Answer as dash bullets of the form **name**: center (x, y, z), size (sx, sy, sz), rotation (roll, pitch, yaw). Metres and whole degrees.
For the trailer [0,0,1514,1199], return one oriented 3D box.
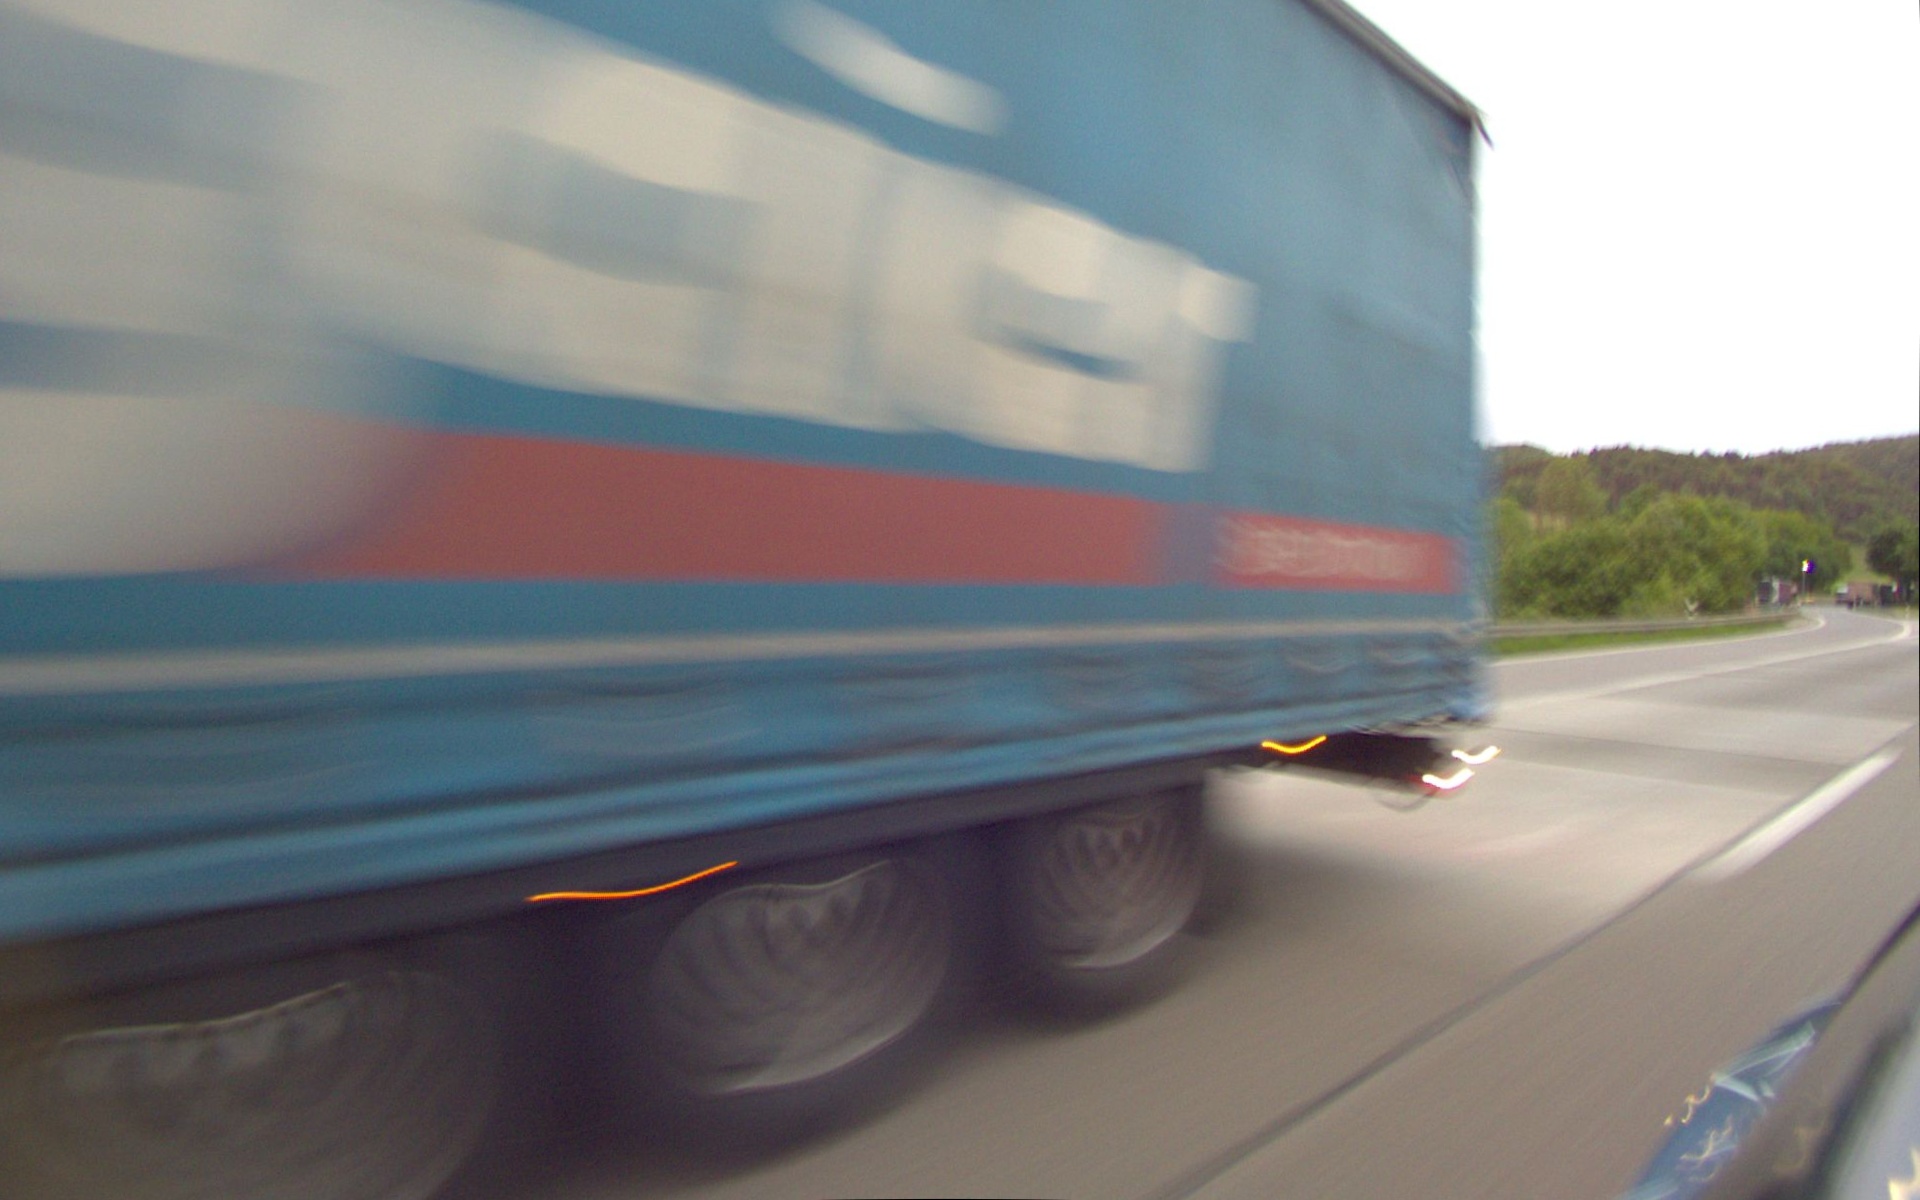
- **trailer**: center (-3.109, -0.716, 1.805), size (13.501, 4.138, 2.776), rotation (-1, 1, -41)

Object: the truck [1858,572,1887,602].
- **truck**: center (128.780, -1.874, 142.848), size (2.838, 3.964, 11.805), rotation (2, 2, 42)

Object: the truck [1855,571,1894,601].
- **truck**: center (142.126, -2.212, 157.183), size (3.775, 4.281, 19.216), rotation (2, 2, 44)

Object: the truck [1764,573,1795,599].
- **truck**: center (125.499, -2.157, 154.933), size (6.278, 3.964, 2.842), rotation (0, 2, -43)
